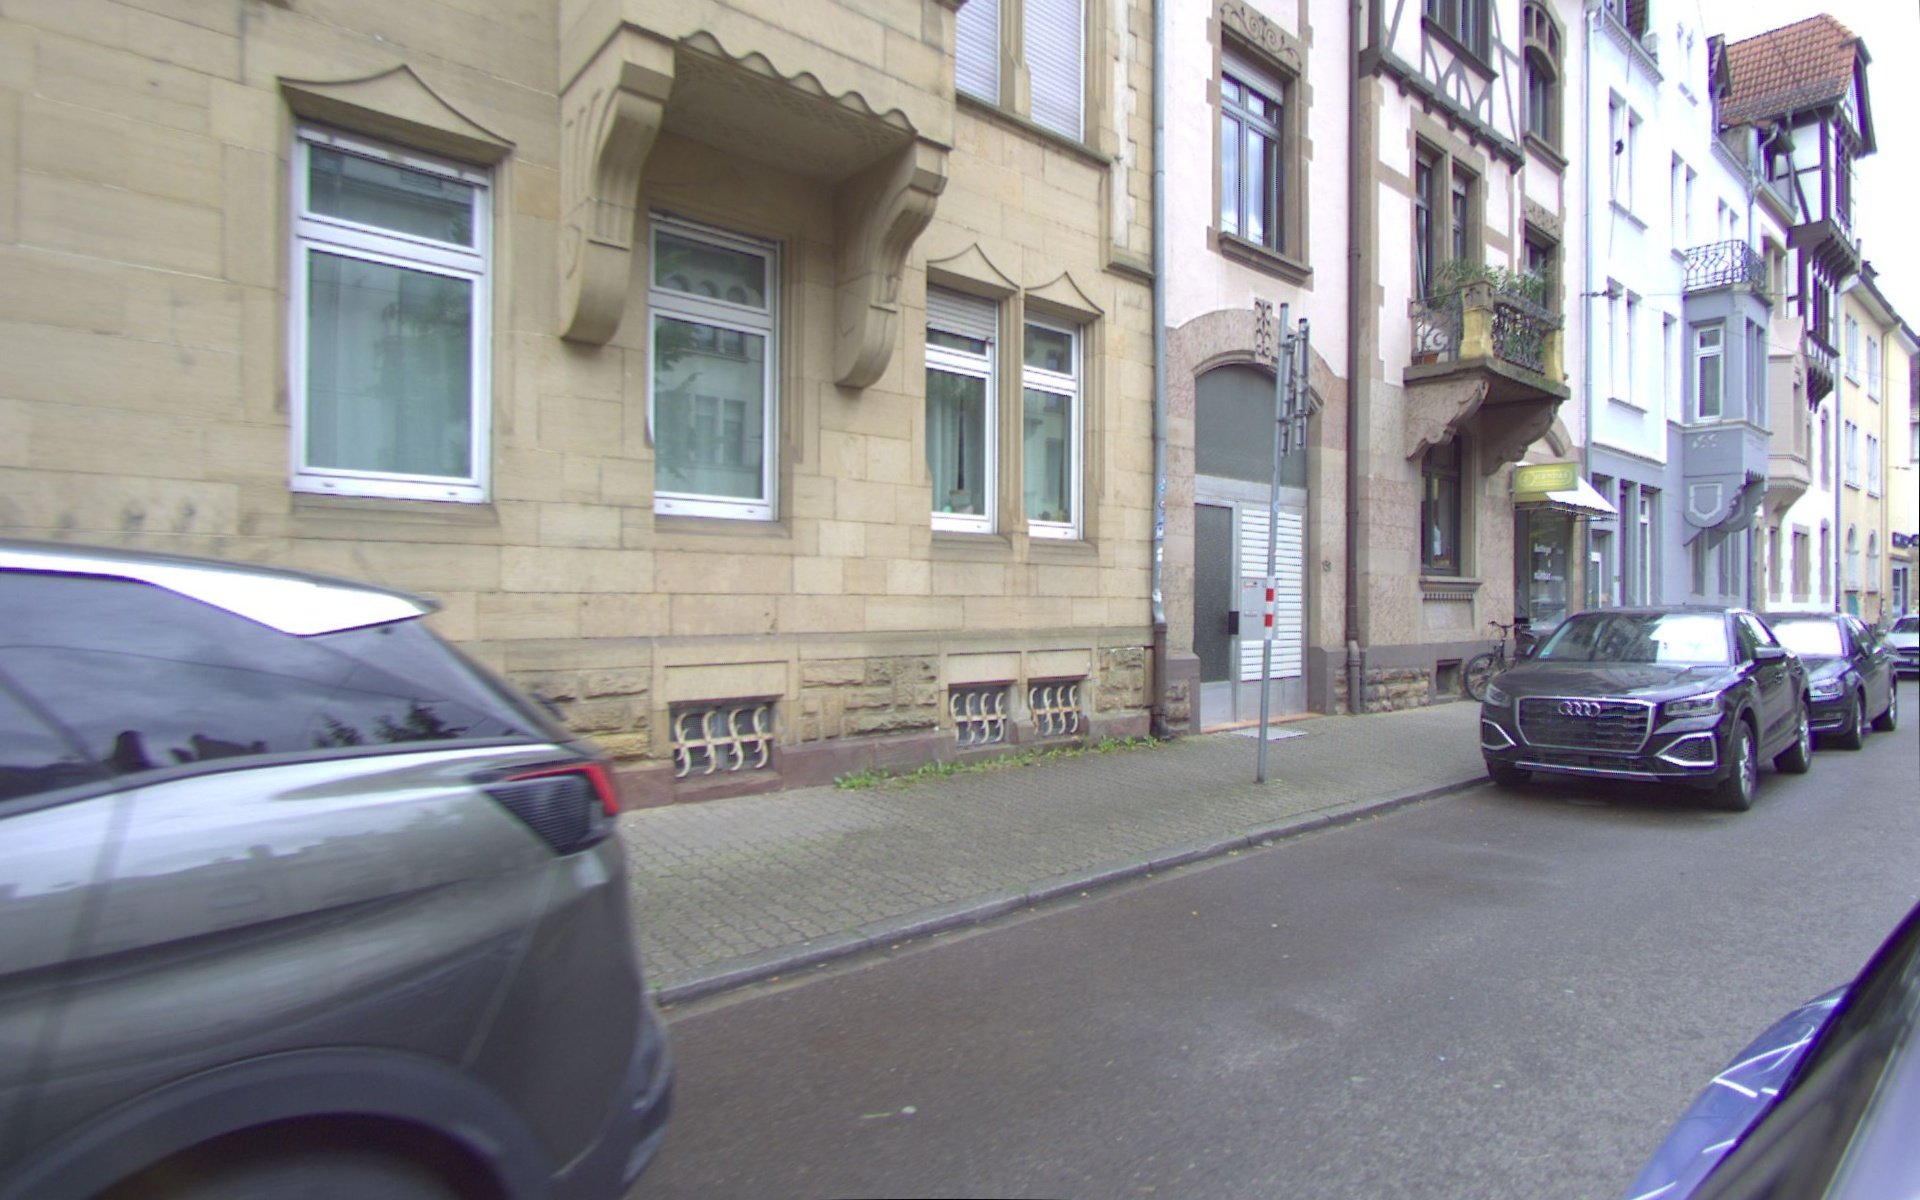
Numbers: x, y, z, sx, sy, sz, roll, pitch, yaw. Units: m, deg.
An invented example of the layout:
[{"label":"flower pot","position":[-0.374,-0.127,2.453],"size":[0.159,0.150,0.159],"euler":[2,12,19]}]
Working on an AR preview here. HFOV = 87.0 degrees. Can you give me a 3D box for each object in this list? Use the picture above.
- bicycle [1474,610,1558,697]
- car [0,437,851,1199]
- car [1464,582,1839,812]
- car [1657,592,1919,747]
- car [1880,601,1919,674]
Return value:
[{"label":"bicycle","position":[7.760,0.713,14.094],"size":[1.560,1.111,0.422],"euler":[0,5,-41]},{"label":"car","position":[-2.509,0.627,1.145],"size":[4.614,1.643,1.761],"euler":[0,0,-42]},{"label":"car","position":[6.211,0.684,8.872],"size":[4.344,1.533,1.699],"euler":[0,-3,-42]},{"label":"car","position":[9.979,0.725,12.064],"size":[4.315,1.533,1.700],"euler":[0,-3,-42]},{"label":"car","position":[21.895,0.776,22.307],"size":[4.138,1.533,1.792],"euler":[0,-3,-40]}]
